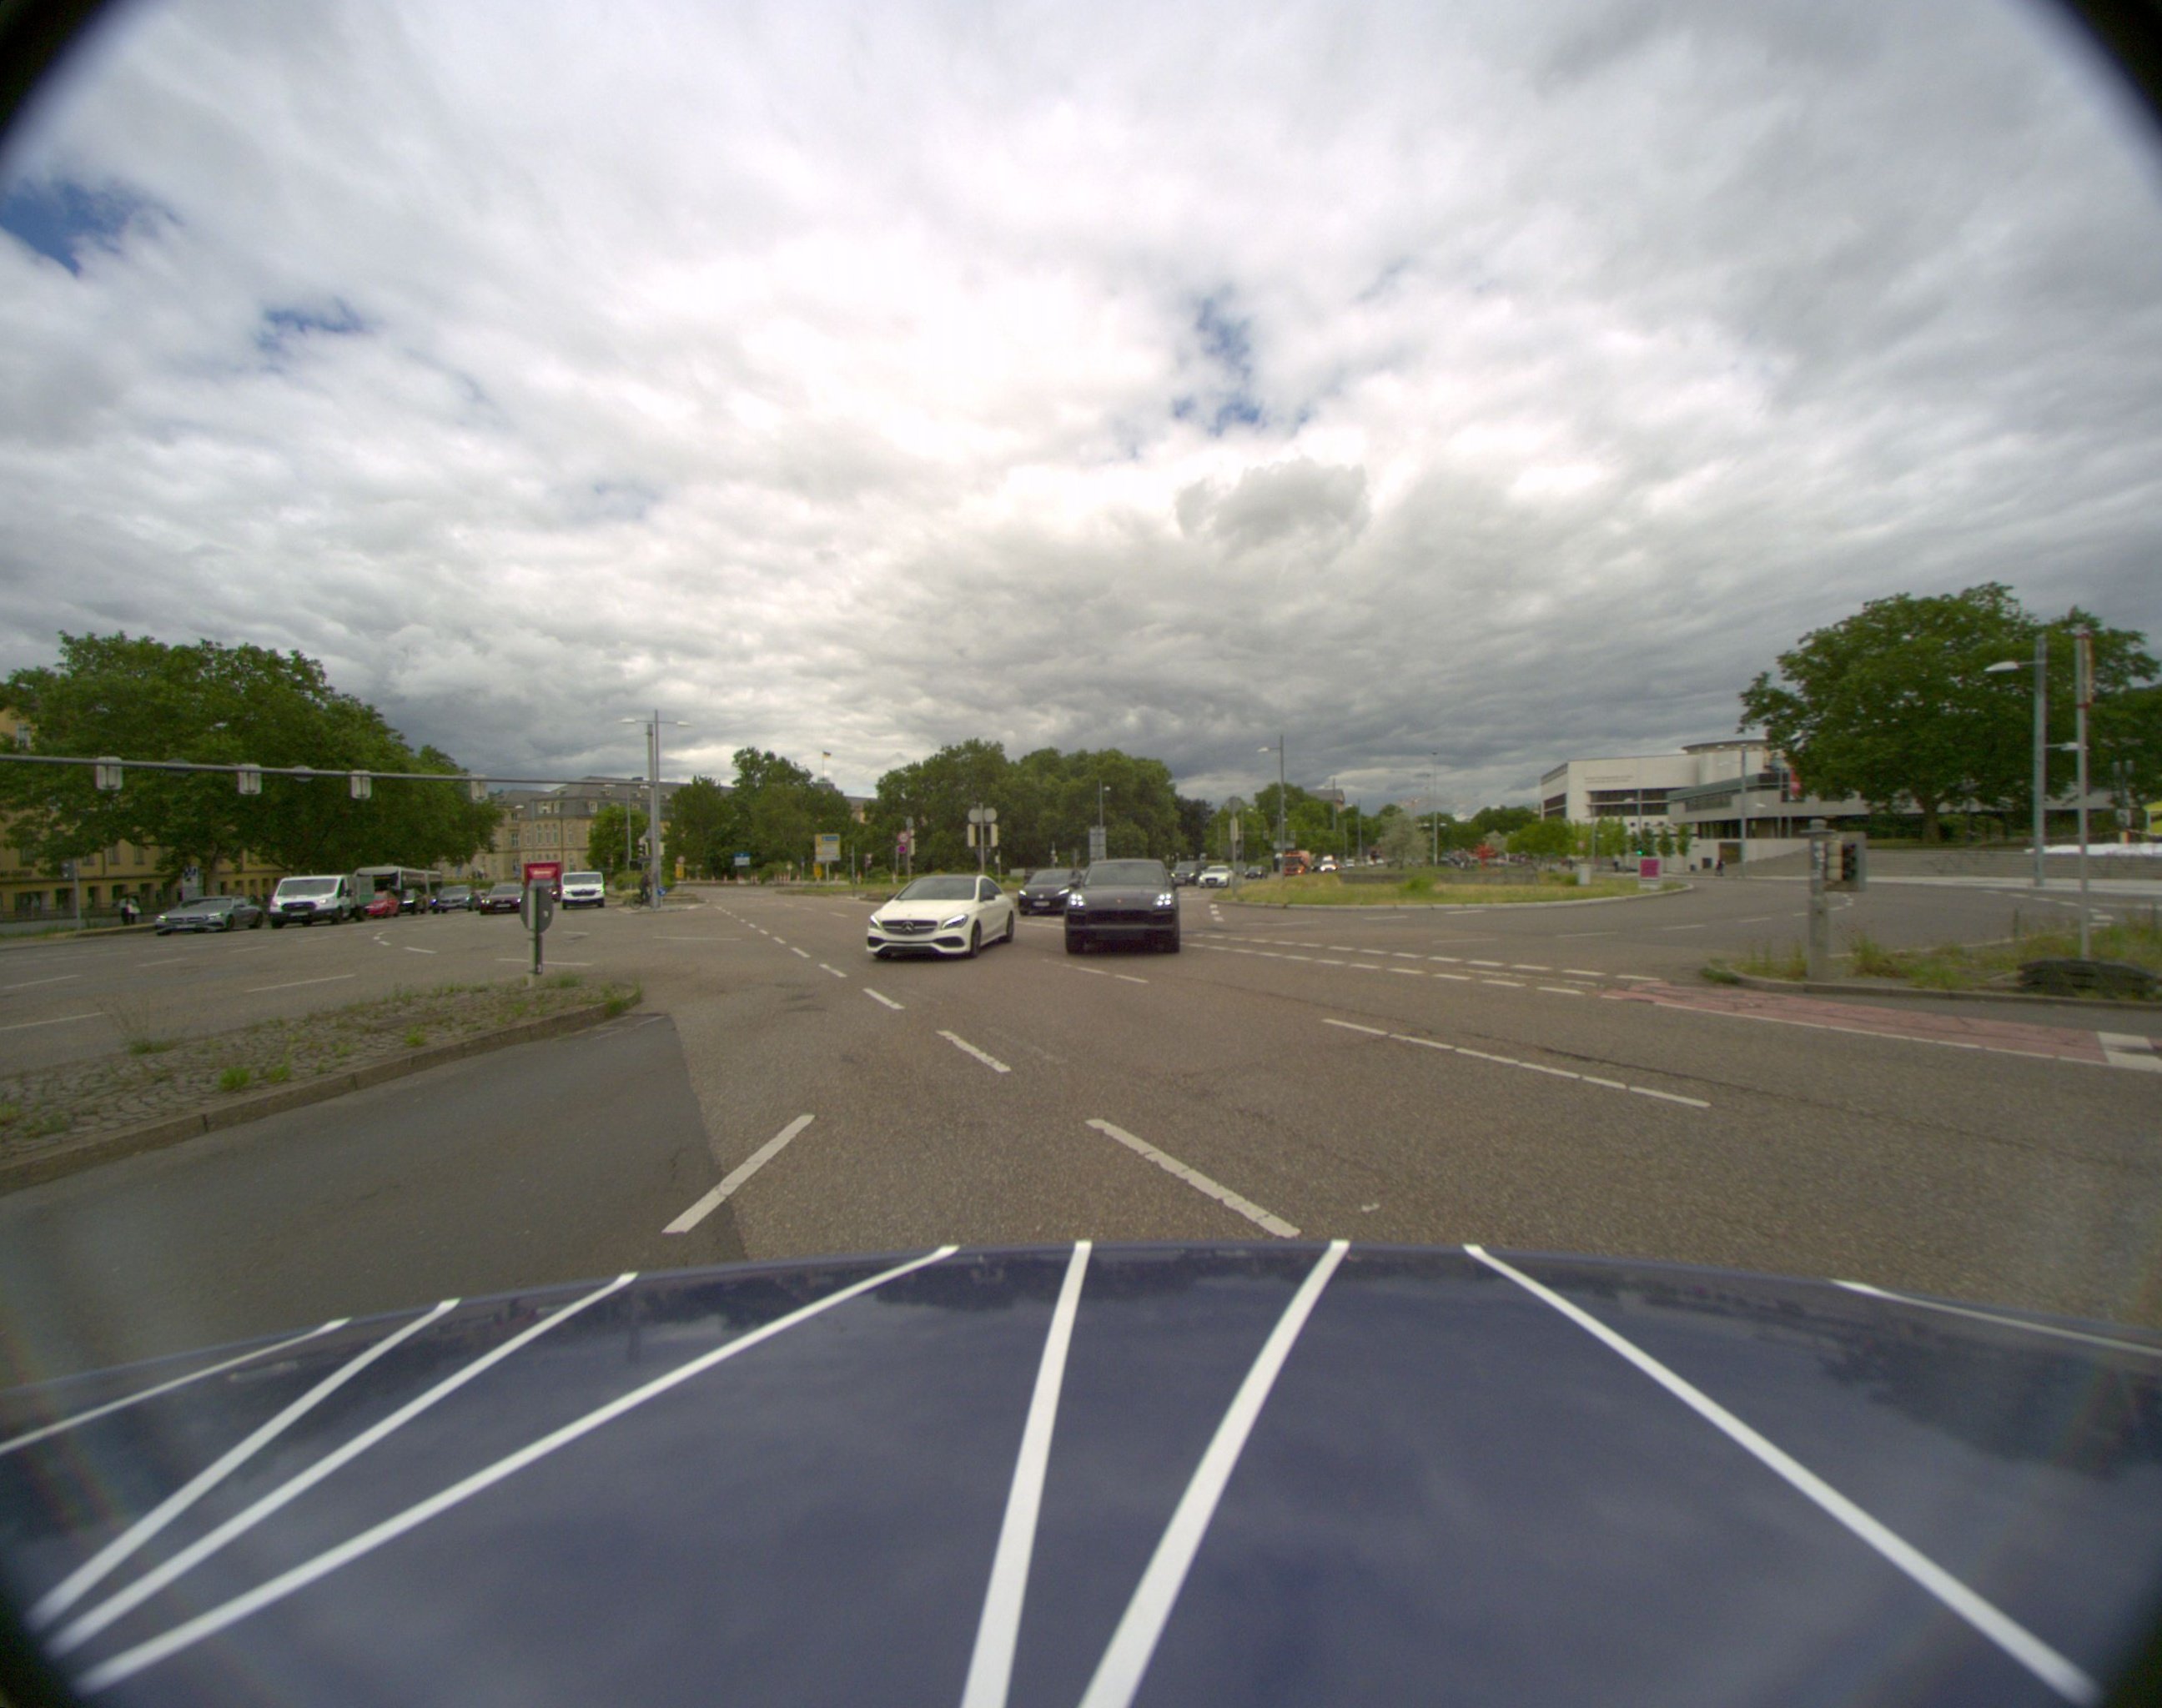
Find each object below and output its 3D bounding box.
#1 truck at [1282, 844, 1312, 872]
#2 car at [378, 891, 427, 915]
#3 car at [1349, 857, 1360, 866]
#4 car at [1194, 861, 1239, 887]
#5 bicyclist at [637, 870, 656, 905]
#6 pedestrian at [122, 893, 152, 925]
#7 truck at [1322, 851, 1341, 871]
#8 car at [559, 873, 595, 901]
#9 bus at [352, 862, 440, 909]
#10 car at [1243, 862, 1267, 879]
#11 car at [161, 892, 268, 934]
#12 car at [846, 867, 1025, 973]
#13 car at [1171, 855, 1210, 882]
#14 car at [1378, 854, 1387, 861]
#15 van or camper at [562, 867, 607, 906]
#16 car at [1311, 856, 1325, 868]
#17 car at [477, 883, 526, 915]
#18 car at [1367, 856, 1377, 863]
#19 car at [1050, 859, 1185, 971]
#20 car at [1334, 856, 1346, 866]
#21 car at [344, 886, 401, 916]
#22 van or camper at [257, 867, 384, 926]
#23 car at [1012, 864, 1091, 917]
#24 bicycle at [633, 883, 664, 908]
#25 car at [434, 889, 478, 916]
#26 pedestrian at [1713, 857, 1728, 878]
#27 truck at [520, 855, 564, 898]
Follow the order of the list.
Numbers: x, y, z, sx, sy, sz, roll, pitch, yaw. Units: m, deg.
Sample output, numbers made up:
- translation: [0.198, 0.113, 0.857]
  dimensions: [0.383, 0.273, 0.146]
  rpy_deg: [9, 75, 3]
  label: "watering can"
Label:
- translation: [29.534, 0.524, 103.654]
  dimensions: [2.722, 3.595, 9.193]
  rpy_deg: [-1, 0, 24]
  label: "truck"
- translation: [-40.645, 2.915, 45.570]
  dimensions: [1.626, 1.228, 3.231]
  rpy_deg: [-1, 0, -32]
  label: "car"
- translation: [58.743, 1.519, 163.133]
  dimensions: [1.779, 1.834, 3.806]
  rpy_deg: [-1, 0, 28]
  label: "car"
- translation: [9.142, 1.315, 50.943]
  dimensions: [2.092, 1.600, 4.419]
  rpy_deg: [0, 0, 22]
  label: "car"
- translation: [-20.616, 1.582, 36.064]
  dimensions: [0.505, 1.630, 0.721]
  rpy_deg: [-1, 0, -2]
  label: "bicyclist"
- translation: [-43.022, 2.508, 34.637]
  dimensions: [0.683, 1.372, 0.577]
  rpy_deg: [-1, 0, -35]
  label: "pedestrian"
- translation: [36.823, 0.972, 111.451]
  dimensions: [1.952, 2.767, 5.799]
  rpy_deg: [-1, 0, 25]
  label: "truck"
- translation: [-34.442, 2.243, 51.991]
  dimensions: [2.003, 1.744, 3.951]
  rpy_deg: [-1, 0, -33]
  label: "car"
- translation: [-52.934, 2.272, 59.128]
  dimensions: [3.441, 3.185, 13.030]
  rpy_deg: [-2, 0, -35]
  label: "bus"
- translation: [18.538, 1.716, 80.998]
  dimensions: [1.856, 1.728, 3.746]
  rpy_deg: [-1, 0, 23]
  label: "car"
- translation: [-35.032, 2.337, 30.862]
  dimensions: [1.832, 1.400, 3.990]
  rpy_deg: [-2, 0, -33]
  label: "car"
- translation: [-2.449, 1.067, 14.110]
  dimensions: [1.869, 1.560, 4.654]
  rpy_deg: [-1, 0, 7]
  label: "car"
- translation: [8.469, 1.082, 58.404]
  dimensions: [1.856, 1.976, 4.649]
  rpy_deg: [0, 0, 23]
  label: "car"
- translation: [86.365, 0.996, 217.653]
  dimensions: [1.779, 1.834, 3.806]
  rpy_deg: [-1, 0, 28]
  label: "car"
- translation: [-26.425, 1.650, 40.456]
  dimensions: [1.869, 1.905, 4.702]
  rpy_deg: [-1, 0, -33]
  label: "van or camper"
- translation: [38.176, 1.308, 122.378]
  dimensions: [1.779, 1.897, 3.805]
  rpy_deg: [-1, 0, 24]
  label: "car"
- translation: [-28.660, 2.173, 37.679]
  dimensions: [1.744, 1.392, 3.702]
  rpy_deg: [-1, 0, -35]
  label: "car"
- translation: [76.226, 1.501, 198.983]
  dimensions: [1.779, 1.834, 3.806]
  rpy_deg: [-1, 0, 28]
  label: "car"
- translation: [0.894, 0.970, 14.299]
  dimensions: [2.003, 1.628, 5.024]
  rpy_deg: [-2, 0, 8]
  label: "car"
- translation: [50.349, 1.410, 147.668]
  dimensions: [1.779, 1.834, 3.805]
  rpy_deg: [-1, 0, 24]
  label: "car"
- translation: [-36.461, 2.402, 39.173]
  dimensions: [1.618, 1.347, 3.477]
  rpy_deg: [-1, 0, -34]
  label: "car"
- translation: [-33.146, 1.739, 33.399]
  dimensions: [2.379, 2.249, 6.273]
  rpy_deg: [-1, 0, -30]
  label: "van or camper"
- translation: [-0.909, 1.199, 26.297]
  dimensions: [1.997, 1.537, 4.570]
  rpy_deg: [-1, 1, 7]
  label: "car"
- translation: [-20.607, 1.965, 36.252]
  dimensions: [0.505, 1.066, 1.728]
  rpy_deg: [-1, 0, -2]
  label: "bicycle"
- translation: [-37.307, 2.859, 45.414]
  dimensions: [1.608, 1.370, 3.990]
  rpy_deg: [-1, 0, -34]
  label: "car"
- translation: [54.257, 1.143, 64.488]
  dimensions: [0.682, 1.738, 0.892]
  rpy_deg: [-1, 0, 19]
  label: "pedestrian"
- translation: [-47.119, 1.919, 66.638]
  dimensions: [2.797, 3.469, 8.329]
  rpy_deg: [-1, 0, -33]
  label: "truck"
